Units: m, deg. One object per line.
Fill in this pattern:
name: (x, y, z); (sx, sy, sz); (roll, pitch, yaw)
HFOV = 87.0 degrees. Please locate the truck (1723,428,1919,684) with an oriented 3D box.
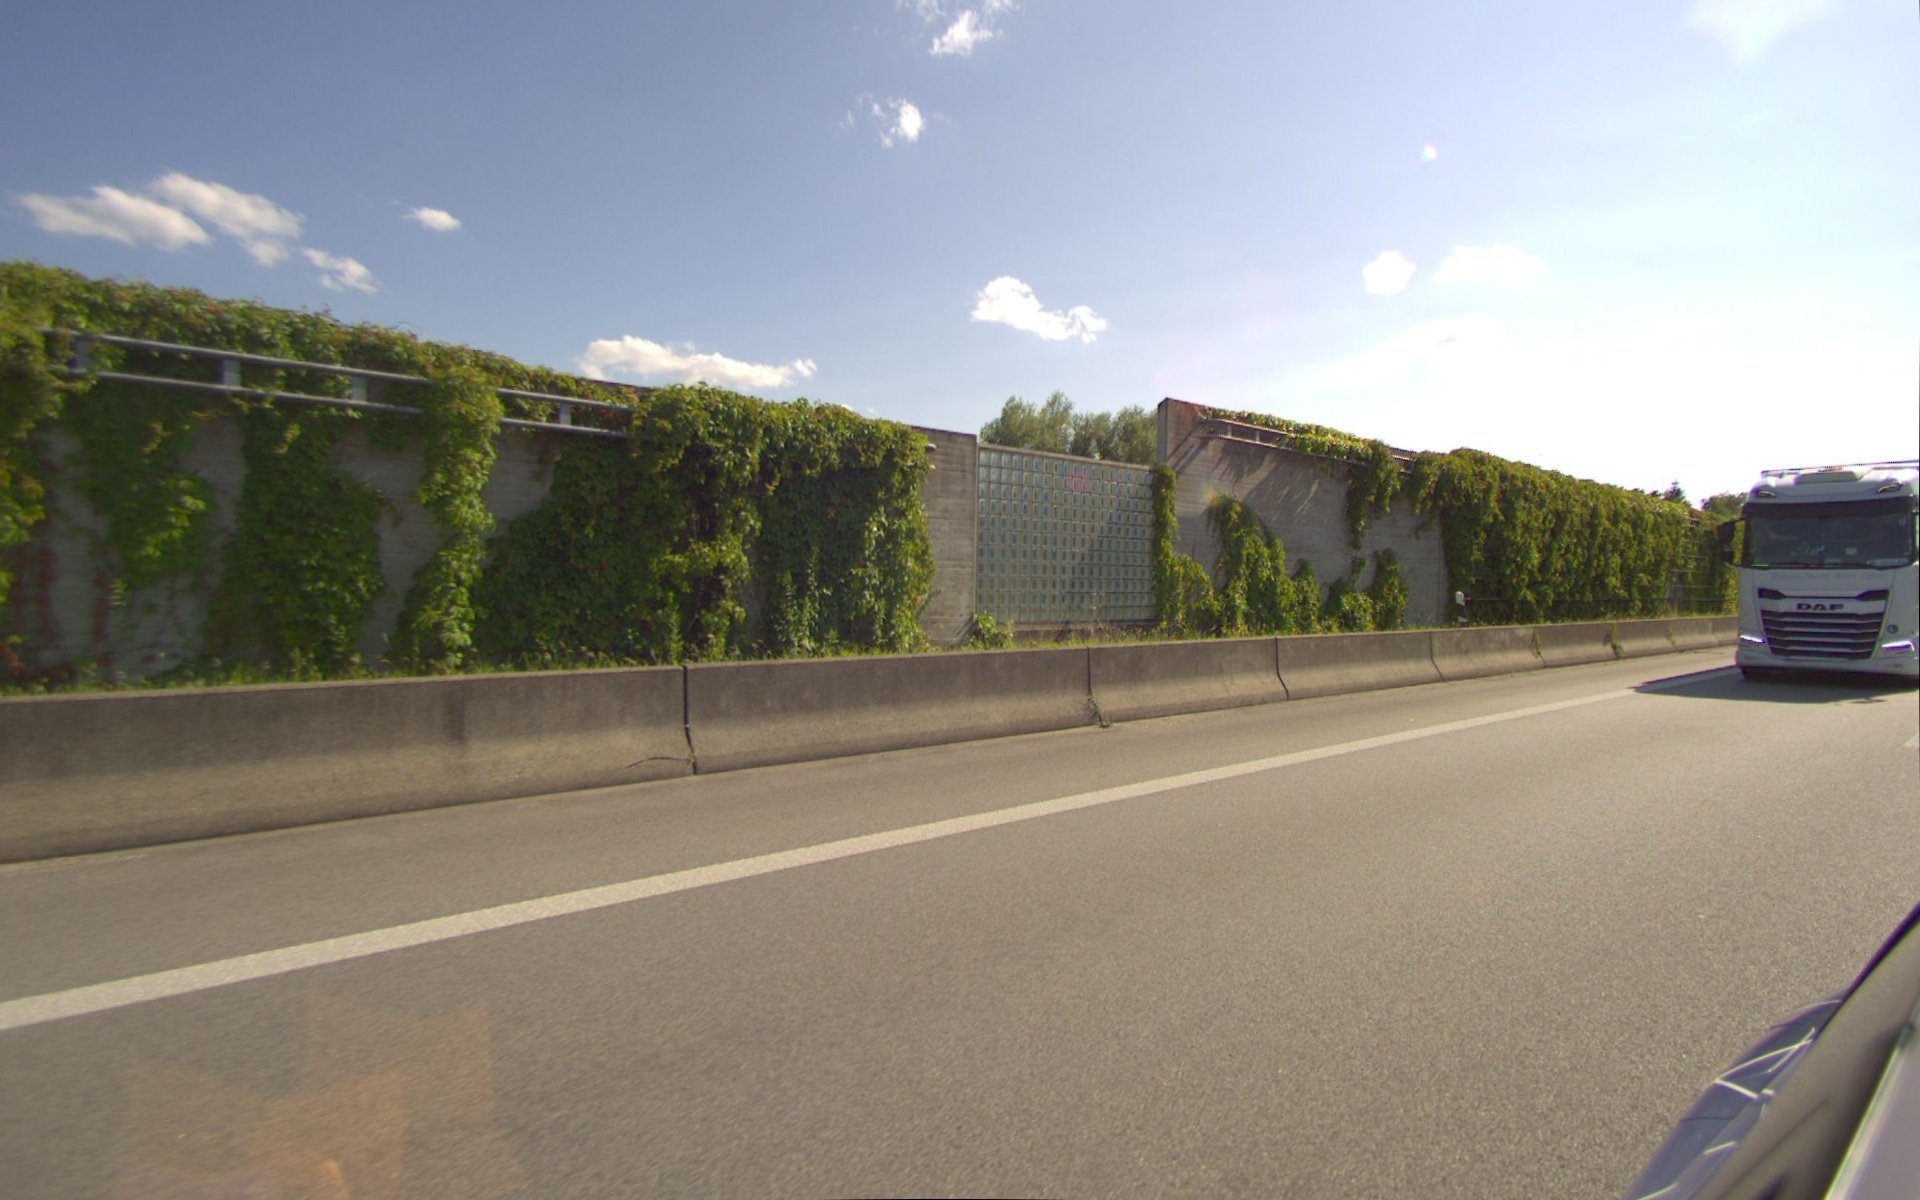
truck: (16.932, -0.748, 19.011); (6.925, 4.015, 2.844); (0, 2, -43)

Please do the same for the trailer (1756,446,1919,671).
trailer: (21.750, -0.791, 23.459); (13.918, 4.015, 2.823); (0, 2, -43)
